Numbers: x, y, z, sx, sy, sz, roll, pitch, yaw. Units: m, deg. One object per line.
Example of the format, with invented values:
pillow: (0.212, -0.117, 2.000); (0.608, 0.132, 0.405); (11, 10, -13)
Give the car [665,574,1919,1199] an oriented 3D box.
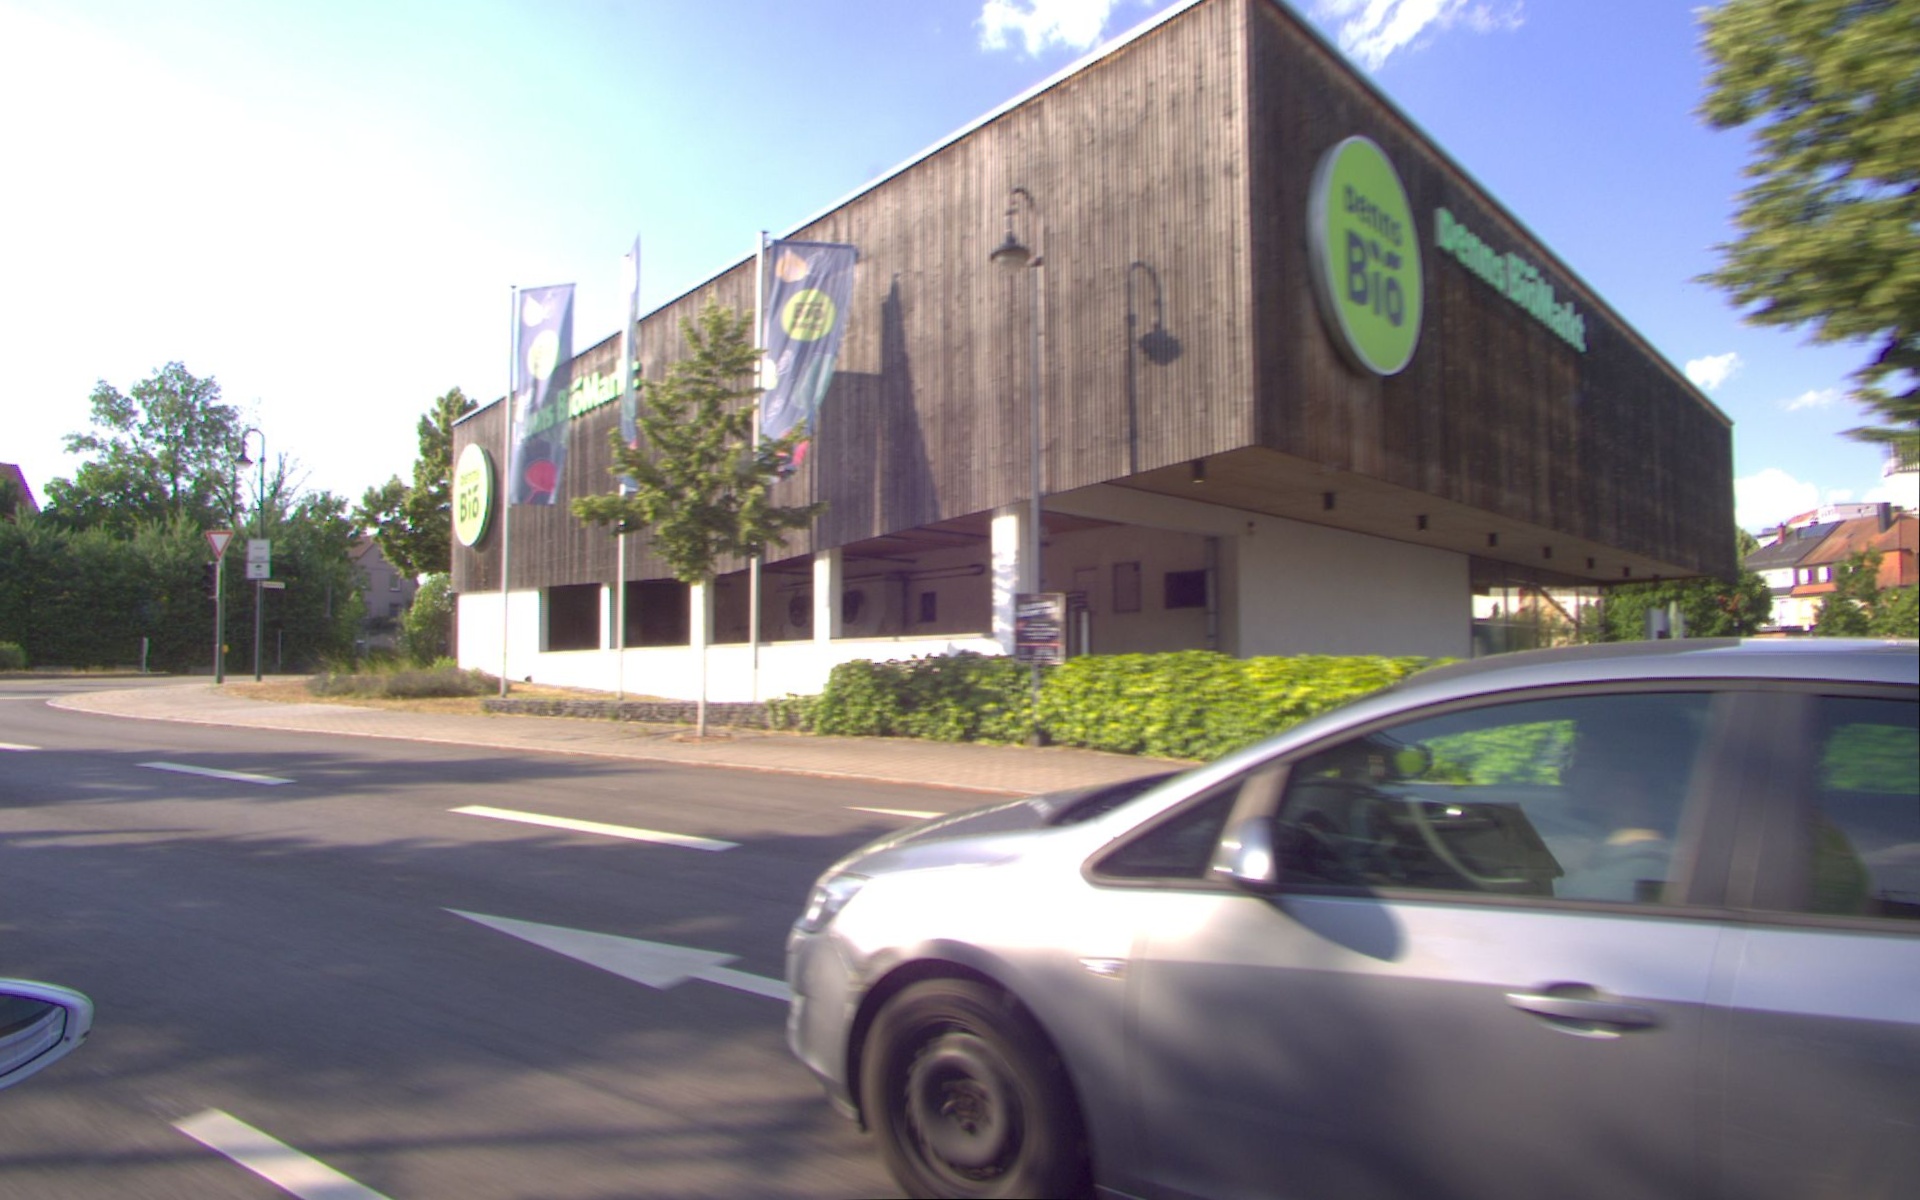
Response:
car: (1.374, 0.746, 2.520); (4.245, 1.509, 1.718); (0, -2, 33)
